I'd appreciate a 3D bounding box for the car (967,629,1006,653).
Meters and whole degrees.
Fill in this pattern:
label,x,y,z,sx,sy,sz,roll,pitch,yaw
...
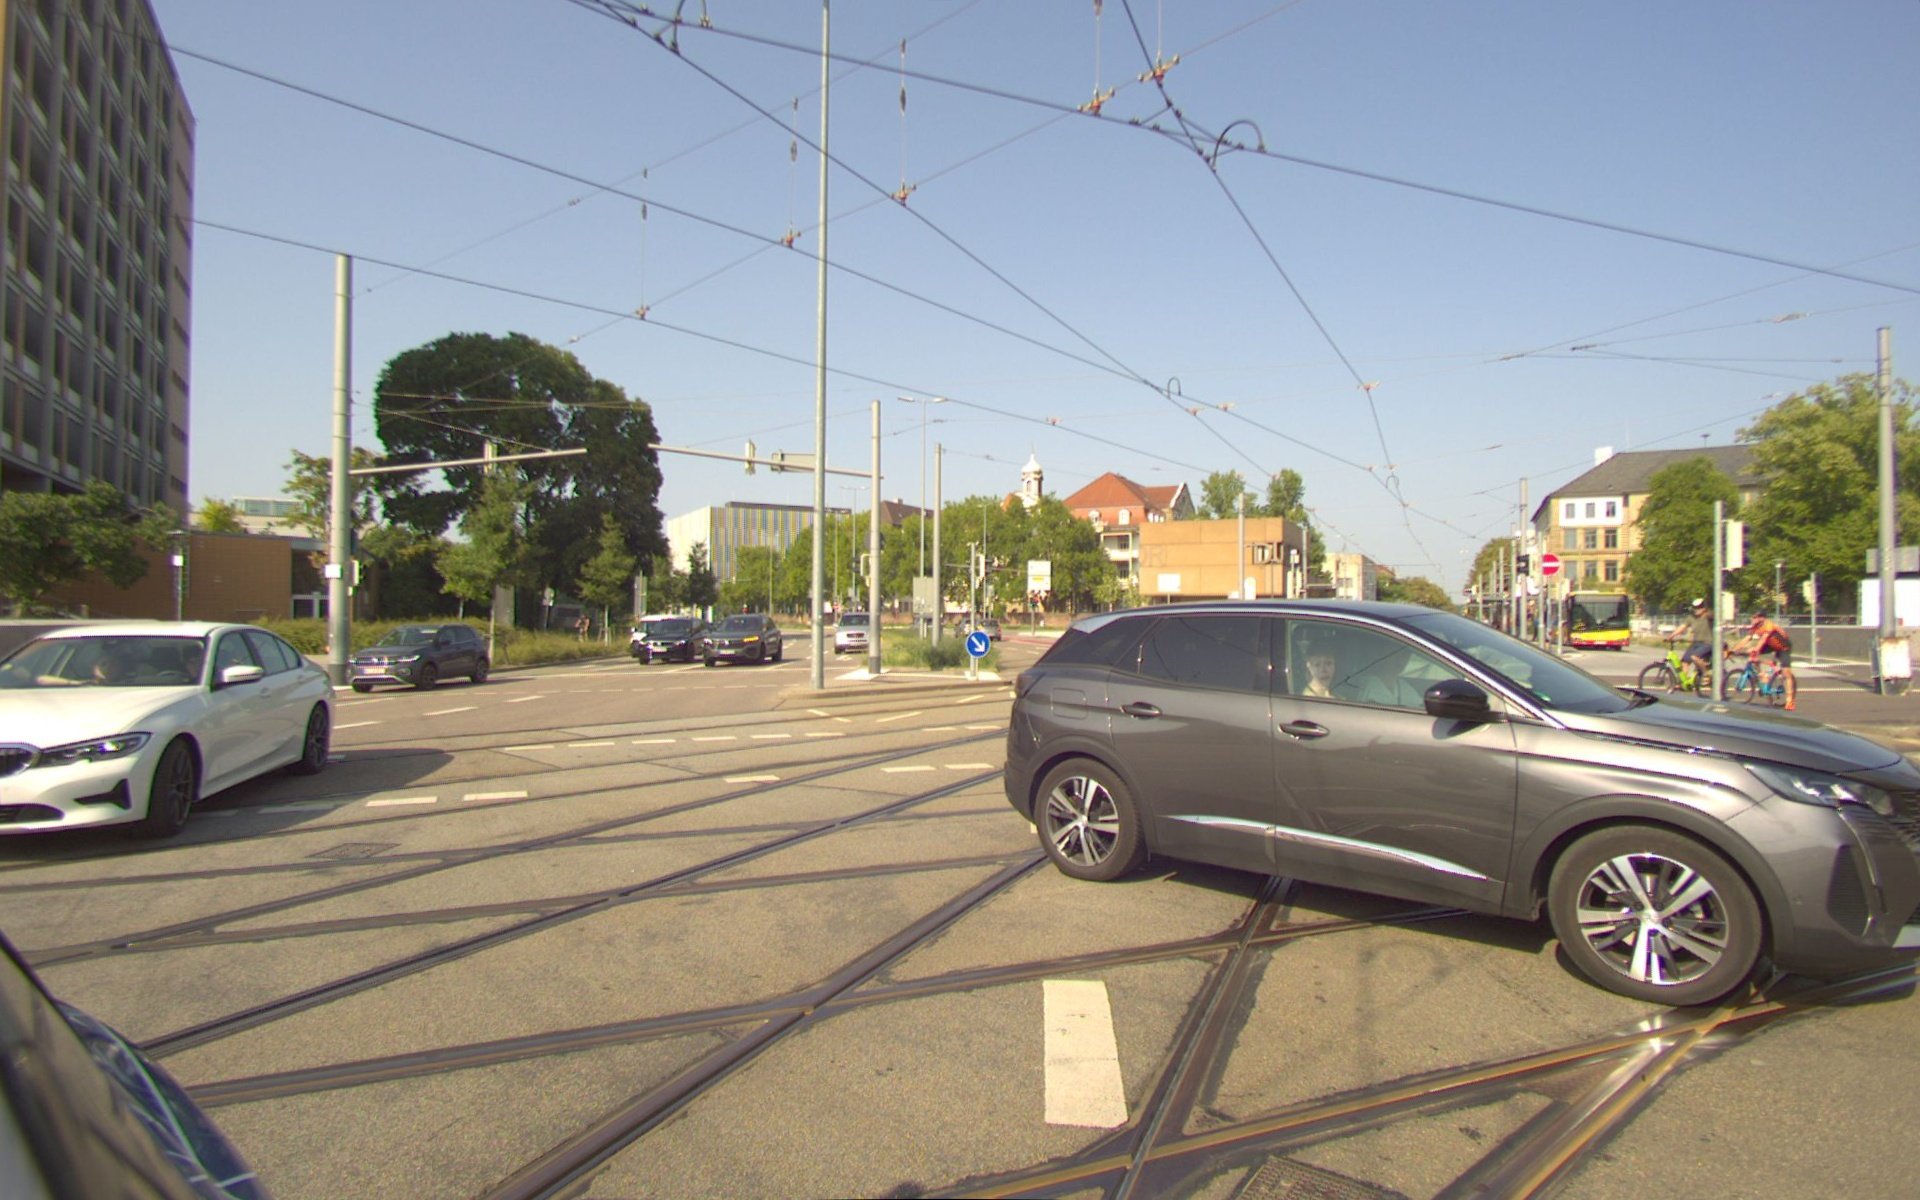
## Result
label,x,y,z,sx,sy,sz,roll,pitch,yaw
car,1.716,2.687,66.842,1.753,1.519,4.009,0,-2,-11

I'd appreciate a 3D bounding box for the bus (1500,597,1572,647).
label,x,y,z,sx,sy,sz,roll,pitch,yaw
bus,40.403,1.595,71.385,3.206,3.203,13.204,-1,-2,25

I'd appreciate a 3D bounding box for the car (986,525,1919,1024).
label,x,y,z,sx,sy,sz,roll,pitch,yaw
car,2.414,0.619,5.356,4.357,1.633,1.972,-1,-2,43

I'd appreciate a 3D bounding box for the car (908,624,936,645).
label,x,y,z,sx,sy,sz,roll,pitch,yaw
car,-2.699,2.436,71.219,1.469,1.462,3.532,0,-2,-11

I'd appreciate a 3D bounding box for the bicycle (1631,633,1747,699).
label,x,y,z,sx,sy,sz,roll,pitch,yaw
bicycle,13.359,1.196,18.560,1.832,1.174,0.377,0,-1,-1

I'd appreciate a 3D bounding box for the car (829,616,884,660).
label,x,y,z,sx,sy,sz,roll,pitch,yaw
car,-4.412,1.606,43.626,1.924,1.720,4.290,-2,-2,-1

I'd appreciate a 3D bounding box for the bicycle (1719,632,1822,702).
label,x,y,z,sx,sy,sz,roll,pitch,yaw
bicycle,13.816,1.135,17.262,1.477,1.174,0.312,0,-1,-1

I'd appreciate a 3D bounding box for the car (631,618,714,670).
label,x,y,z,sx,sy,sz,roll,pitch,yaw
car,-10.453,1.573,37.112,1.744,1.720,4.288,-2,-2,1

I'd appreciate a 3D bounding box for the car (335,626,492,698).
label,x,y,z,sx,sy,sz,roll,pitch,yaw
car,-13.297,1.462,24.908,1.720,1.594,3.975,-1,-2,1

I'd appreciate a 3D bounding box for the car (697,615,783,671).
label,x,y,z,sx,sy,sz,roll,pitch,yaw
car,-7.373,1.417,34.383,1.899,1.720,4.288,-2,-2,1

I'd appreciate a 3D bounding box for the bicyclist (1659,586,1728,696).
label,x,y,z,sx,sy,sz,roll,pitch,yaw
bicyclist,13.469,0.743,18.592,0.796,1.989,0.581,0,-1,-2

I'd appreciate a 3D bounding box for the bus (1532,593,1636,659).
label,x,y,z,sx,sy,sz,roll,pitch,yaw
bus,34.082,1.447,55.862,3.206,3.203,13.204,-1,-2,25

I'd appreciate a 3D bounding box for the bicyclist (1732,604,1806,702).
label,x,y,z,sx,sy,sz,roll,pitch,yaw
bicyclist,13.789,0.895,17.260,0.796,1.642,0.512,0,-1,-1

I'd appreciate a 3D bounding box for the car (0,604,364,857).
label,x,y,z,sx,sy,sz,roll,pitch,yaw
car,-6.471,0.810,8.004,1.784,1.438,4.787,0,-1,-15

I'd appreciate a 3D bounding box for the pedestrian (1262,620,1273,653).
label,x,y,z,sx,sy,sz,roll,pitch,yaw
pedestrian,16.399,1.943,53.970,0.402,1.782,0.554,-1,-2,29

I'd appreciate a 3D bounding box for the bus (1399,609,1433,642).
label,x,y,z,sx,sy,sz,roll,pitch,yaw
bus,50.251,2.814,111.427,3.206,3.445,13.204,-1,-2,25

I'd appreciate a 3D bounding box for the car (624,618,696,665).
label,x,y,z,sx,sy,sz,roll,pitch,yaw
car,-13.095,1.770,44.408,1.770,1.901,4.288,-2,-2,1

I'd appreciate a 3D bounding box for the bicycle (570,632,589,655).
label,x,y,z,sx,sy,sz,roll,pitch,yaw
bicycle,-20.367,2.299,54.177,0.396,1.203,1.772,0,-2,-1
